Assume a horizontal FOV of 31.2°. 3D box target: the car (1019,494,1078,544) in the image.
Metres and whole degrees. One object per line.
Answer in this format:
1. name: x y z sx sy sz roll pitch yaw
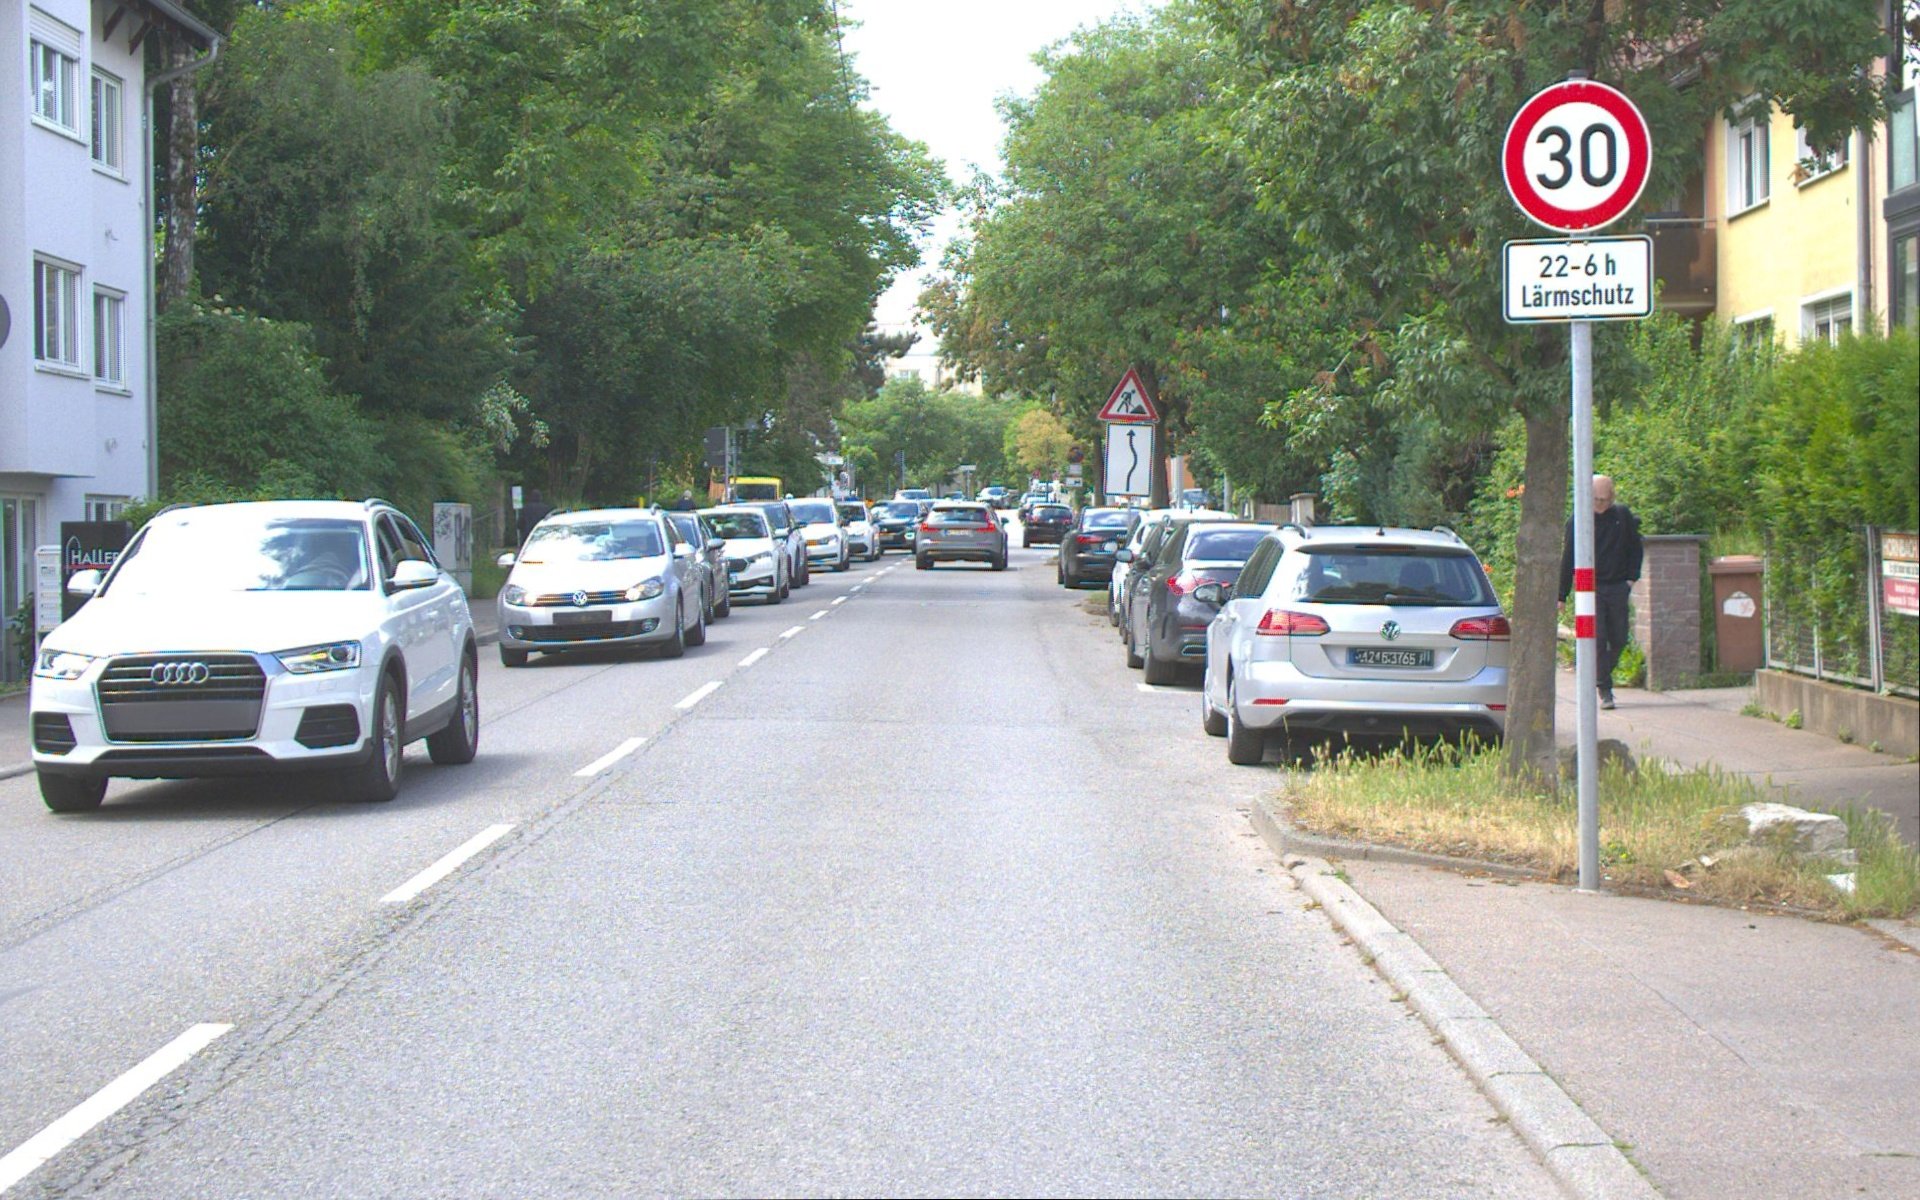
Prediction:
1. car: 2.834 -2.596 109.345 1.816 1.495 4.267 1 2 2

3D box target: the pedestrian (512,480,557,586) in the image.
1. pedestrian: -6.734 -1.059 54.439 0.653 1.661 0.932 0 1 -5

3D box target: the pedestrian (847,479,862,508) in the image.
1. pedestrian: -5.217 -5.277 170.159 0.705 1.434 0.713 0 1 5

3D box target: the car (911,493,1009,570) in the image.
1. car: 0.023 -1.511 74.513 1.976 1.508 4.267 3 2 1

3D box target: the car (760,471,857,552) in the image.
1. car: -3.276 -1.960 75.007 1.786 1.642 4.491 -2 2 1

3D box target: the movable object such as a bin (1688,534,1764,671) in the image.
1. movable object such as a bin: 6.102 0.015 27.394 0.523 1.076 0.604 0 1 6

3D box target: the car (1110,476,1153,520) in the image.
1. car: 7.995 -4.752 160.578 1.993 2.007 4.000 0 1 2

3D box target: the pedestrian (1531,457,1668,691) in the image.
1. pedestrian: 4.745 -0.199 25.552 0.880 1.706 0.842 0 1 2

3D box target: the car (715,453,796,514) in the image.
1. car: -6.855 -3.890 115.674 2.146 1.974 4.930 0 1 3

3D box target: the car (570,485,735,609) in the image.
1. car: -3.965 -0.716 44.911 1.709 1.450 4.287 -3 2 0

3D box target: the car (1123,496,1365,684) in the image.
1. car: 2.442 -0.154 30.649 1.734 1.424 4.883 2 2 0

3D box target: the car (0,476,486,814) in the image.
1. car: -3.812 0.155 18.711 1.806 1.565 4.159 -2 2 0

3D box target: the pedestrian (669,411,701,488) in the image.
1. pedestrian: -6.323 -3.455 79.099 0.714 1.756 1.122 0 1 -5

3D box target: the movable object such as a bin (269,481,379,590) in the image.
1. movable object such as a bin: -8.442 -0.860 45.688 1.329 1.422 1.214 0 1 -6

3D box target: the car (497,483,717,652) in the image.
1. car: -3.482 -0.380 34.612 1.728 1.497 4.377 -3 2 0

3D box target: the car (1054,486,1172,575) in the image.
1. car: 2.668 -1.254 60.893 1.801 1.440 4.887 2 2 -1

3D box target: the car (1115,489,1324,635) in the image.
1. car: 2.687 -0.451 36.547 1.993 1.418 4.589 -1 2 2

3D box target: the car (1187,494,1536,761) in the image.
1. car: 2.468 0.082 22.206 1.701 1.475 4.873 1 2 1

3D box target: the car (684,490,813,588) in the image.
1. car: -3.705 -1.110 60.877 1.928 1.541 4.087 -3 2 0

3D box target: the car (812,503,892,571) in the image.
1. car: -2.731 -1.613 87.455 1.785 1.586 4.154 -2 2 1

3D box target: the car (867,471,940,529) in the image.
1. car: -1.571 -2.832 96.945 1.789 1.536 4.264 -2 2 2

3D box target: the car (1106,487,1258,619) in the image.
1. car: 2.666 -0.611 41.947 1.622 1.502 3.779 -1 2 0

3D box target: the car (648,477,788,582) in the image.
1. car: -3.592 -1.089 51.596 1.760 1.434 3.971 -2 2 0
